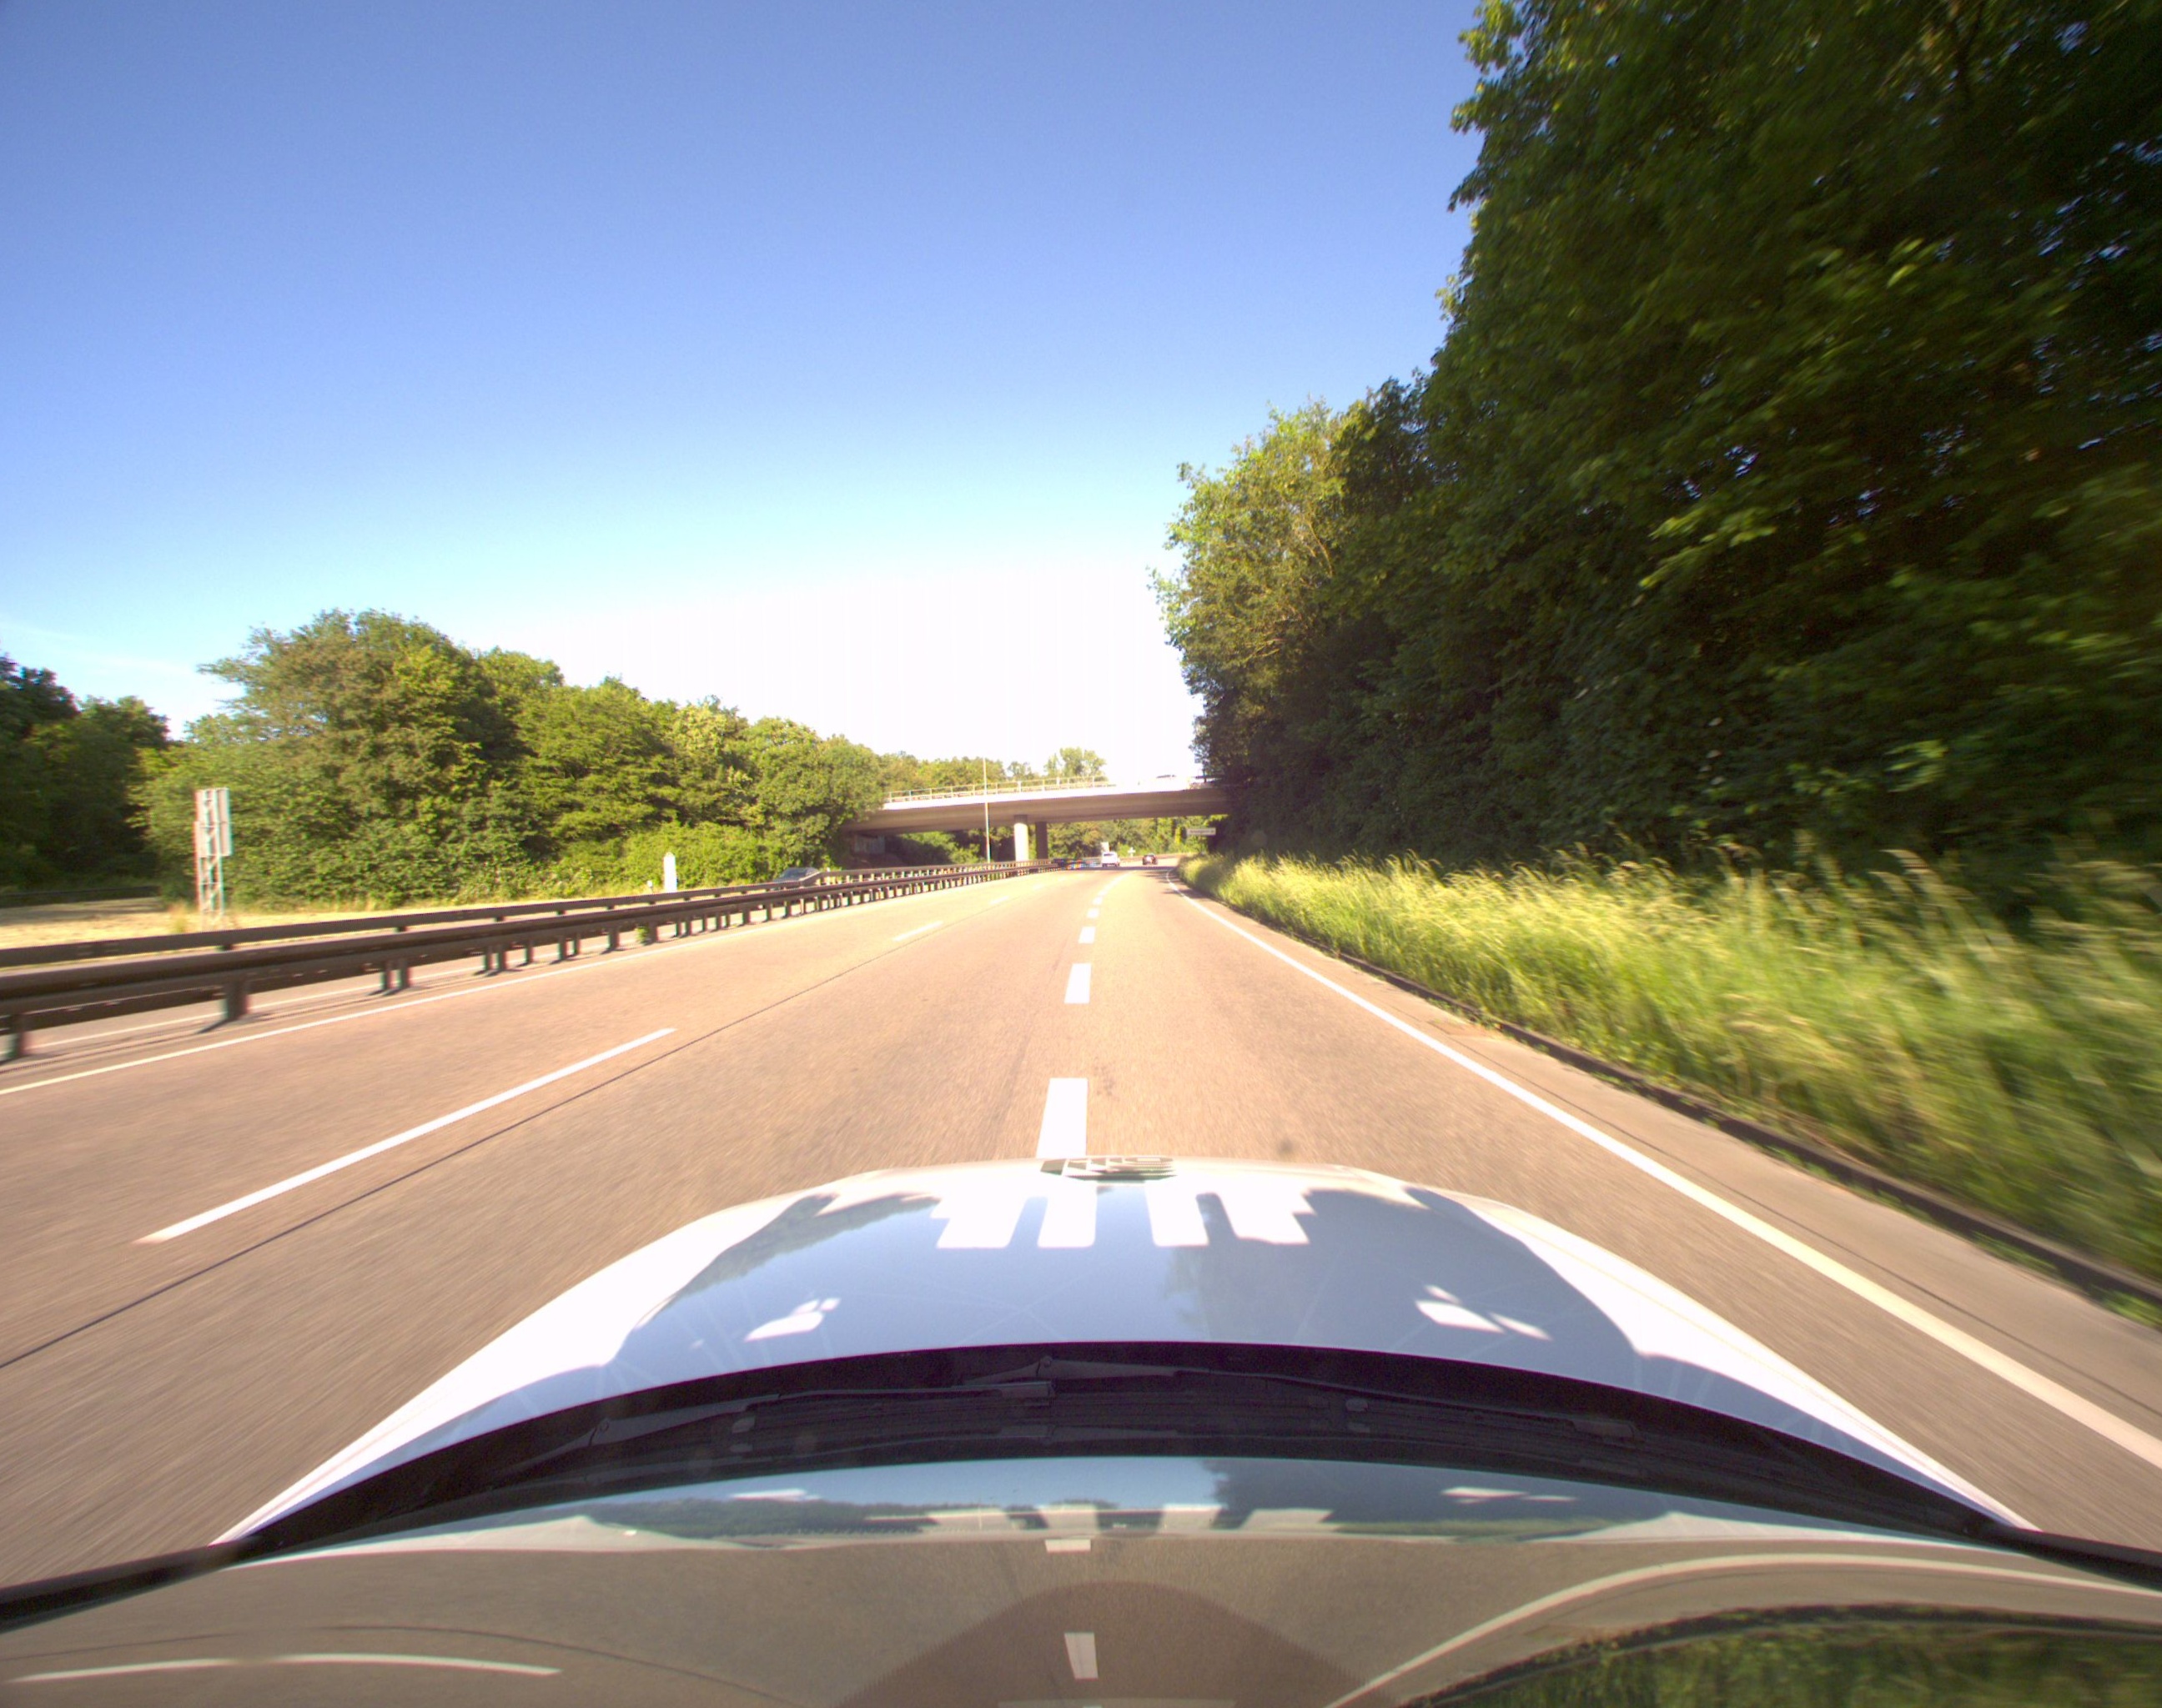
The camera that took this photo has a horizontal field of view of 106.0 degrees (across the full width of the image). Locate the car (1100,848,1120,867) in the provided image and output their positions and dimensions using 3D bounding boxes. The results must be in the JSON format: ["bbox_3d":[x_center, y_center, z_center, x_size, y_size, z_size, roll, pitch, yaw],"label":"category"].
[{"bbox_3d":[3.593,0.418,100.416,1.983,2.277,4.009,-2,0,7],"label":"car"}]

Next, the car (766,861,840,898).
[{"bbox_3d":[-15.392,1.358,45.425,1.985,1.848,5.316,-1,0,4],"label":"car"}]

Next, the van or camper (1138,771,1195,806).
[{"bbox_3d":[7.327,-5.564,69.591,4.574,2.639,2.008,-1,-1,14],"label":"van or camper"}]

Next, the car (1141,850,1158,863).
[{"bbox_3d":[9.193,0.327,109.479,1.728,1.662,3.958,-2,0,11],"label":"car"}]
